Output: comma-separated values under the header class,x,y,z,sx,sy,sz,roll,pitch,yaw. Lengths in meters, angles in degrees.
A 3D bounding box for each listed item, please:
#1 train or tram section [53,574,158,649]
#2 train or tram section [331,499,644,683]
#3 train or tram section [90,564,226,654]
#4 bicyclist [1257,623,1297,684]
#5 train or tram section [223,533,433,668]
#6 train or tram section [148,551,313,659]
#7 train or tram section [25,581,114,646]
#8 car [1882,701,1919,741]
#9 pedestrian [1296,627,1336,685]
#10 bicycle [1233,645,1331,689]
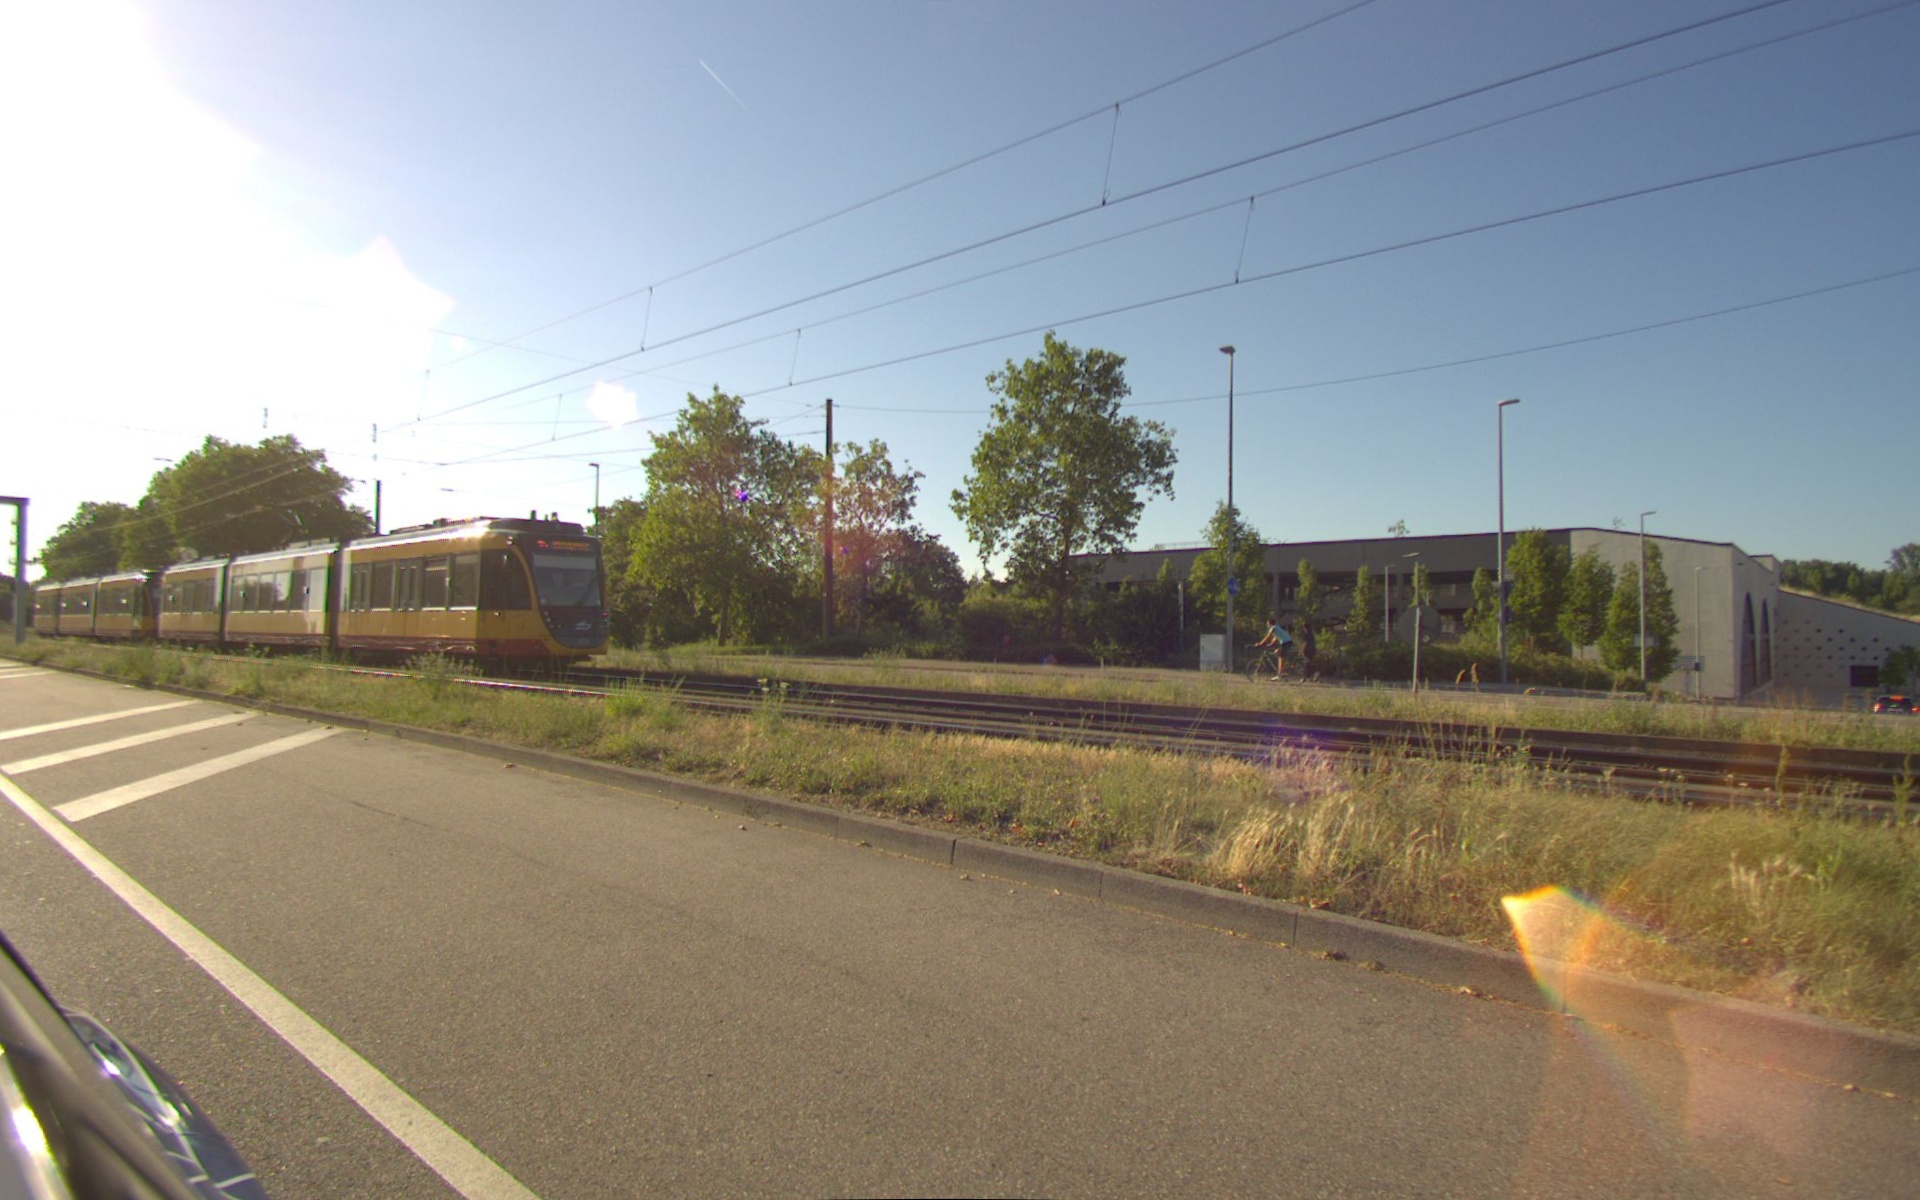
class,x,y,z,sx,sy,sz,roll,pitch,yaw
train or tram section,-50.029,0.747,59.077,11.905,3.977,2.854,-1,-2,41
train or tram section,-12.975,-0.072,26.852,12.105,3.977,2.854,-1,-2,41
train or tram section,-40.389,0.541,50.688,13.652,3.977,2.854,-1,-2,41
bicyclist,8.752,1.460,27.947,0.835,1.629,0.760,-1,-2,41
train or tram section,-21.831,0.120,34.553,11.333,3.977,2.854,-1,-2,41
train or tram section,-30.675,0.311,42.232,12.105,3.977,2.854,-1,-2,41
train or tram section,-58.919,0.930,66.811,11.659,3.977,2.854,-1,-2,41
car,44.940,5.717,48.017,1.694,1.564,3.944,-1,-2,42
pedestrian,10.184,1.577,28.971,0.878,1.621,0.713,-1,-2,41
bicycle,8.833,1.817,27.843,2.527,1.136,0.624,-1,-2,41
